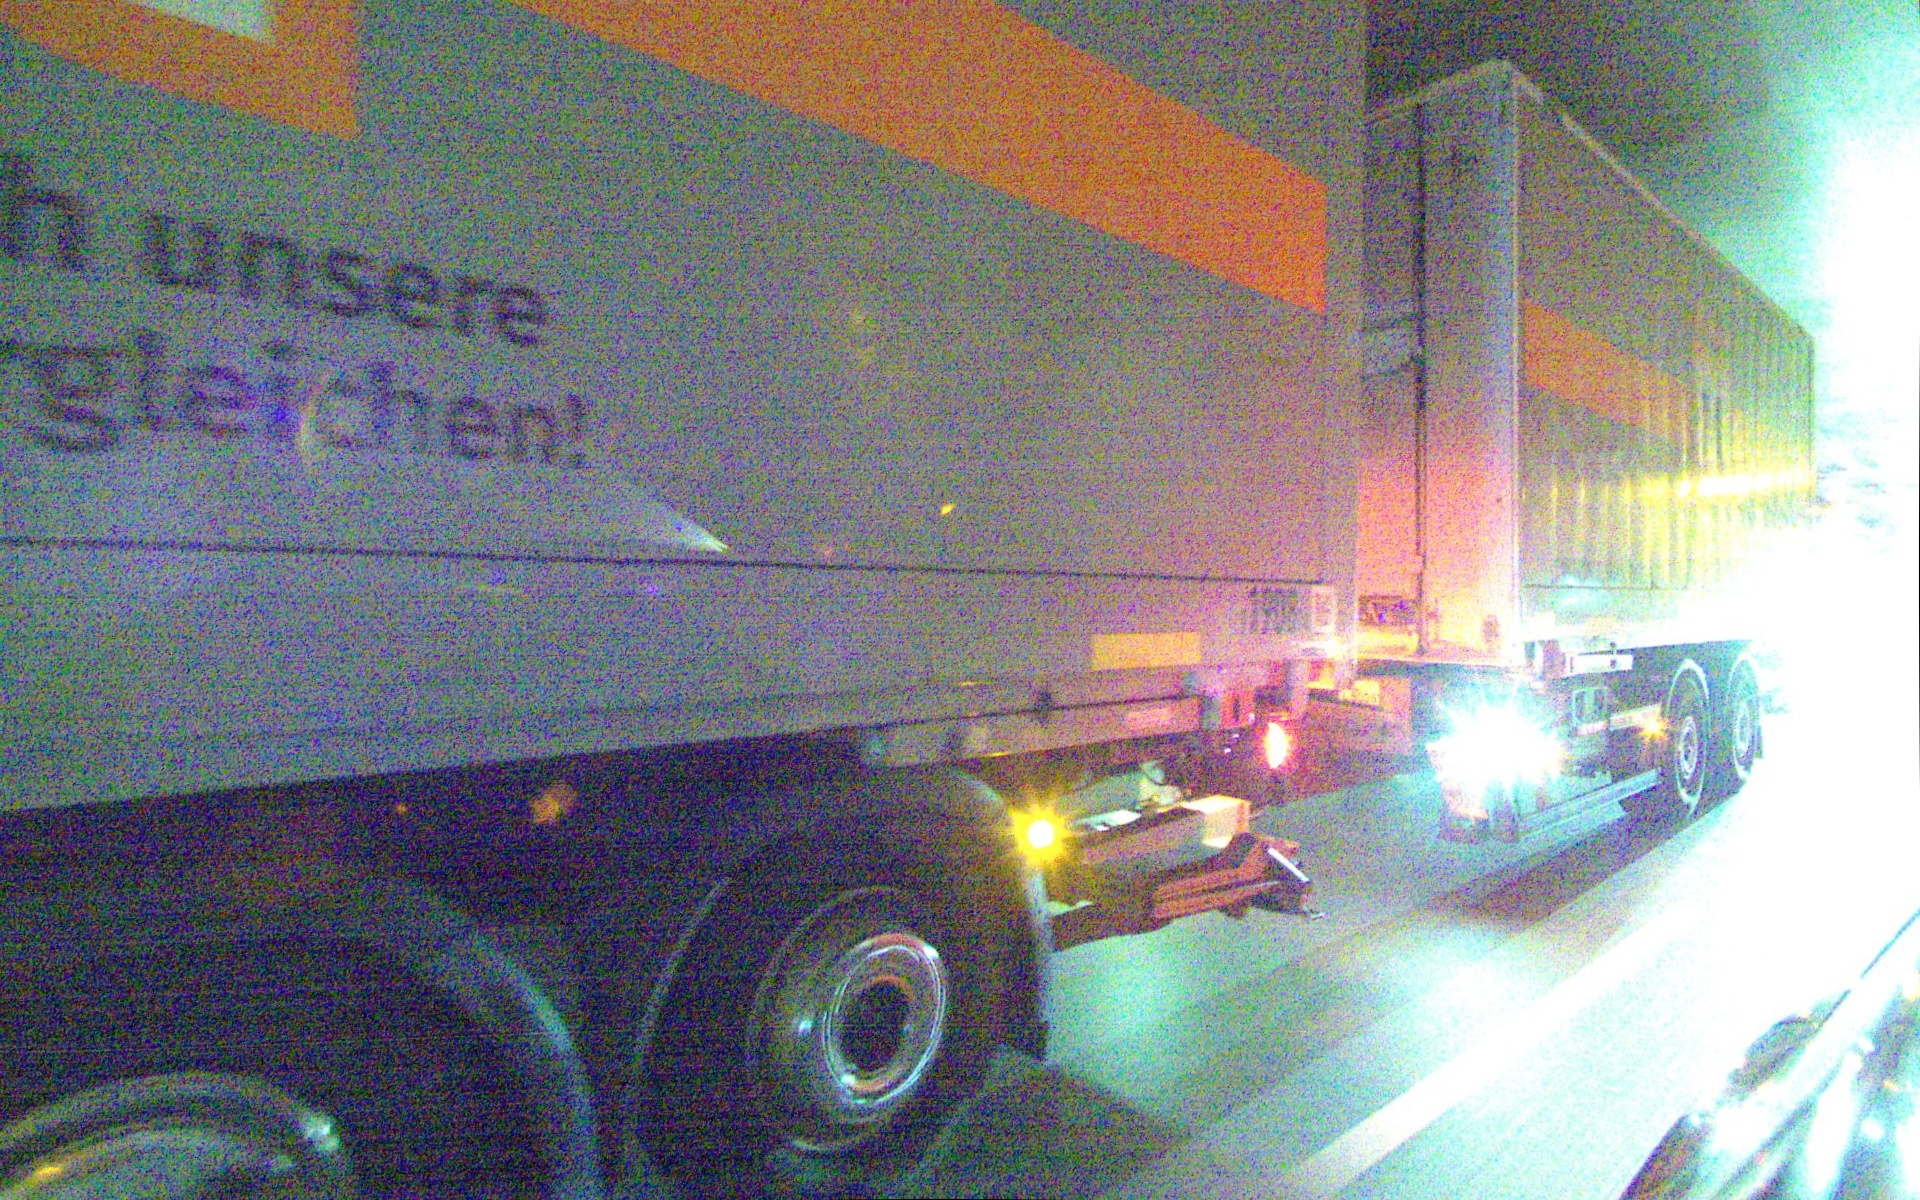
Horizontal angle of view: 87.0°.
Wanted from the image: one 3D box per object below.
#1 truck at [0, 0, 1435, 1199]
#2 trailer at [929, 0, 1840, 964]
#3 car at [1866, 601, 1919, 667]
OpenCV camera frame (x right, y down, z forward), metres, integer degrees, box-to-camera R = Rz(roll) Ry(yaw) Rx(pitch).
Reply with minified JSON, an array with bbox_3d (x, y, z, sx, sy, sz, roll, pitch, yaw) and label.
[{"bbox_3d":[-2.830,-0.672,1.510,9.738,3.963,2.893,0,0,-42],"label":"truck"},{"bbox_3d":[4.055,-0.626,7.700,8.792,3.907,2.880,0,0,-42],"label":"trailer"},{"bbox_3d":[22.639,0.754,23.698,3.734,1.421,1.733,0,0,-42],"label":"car"}]
